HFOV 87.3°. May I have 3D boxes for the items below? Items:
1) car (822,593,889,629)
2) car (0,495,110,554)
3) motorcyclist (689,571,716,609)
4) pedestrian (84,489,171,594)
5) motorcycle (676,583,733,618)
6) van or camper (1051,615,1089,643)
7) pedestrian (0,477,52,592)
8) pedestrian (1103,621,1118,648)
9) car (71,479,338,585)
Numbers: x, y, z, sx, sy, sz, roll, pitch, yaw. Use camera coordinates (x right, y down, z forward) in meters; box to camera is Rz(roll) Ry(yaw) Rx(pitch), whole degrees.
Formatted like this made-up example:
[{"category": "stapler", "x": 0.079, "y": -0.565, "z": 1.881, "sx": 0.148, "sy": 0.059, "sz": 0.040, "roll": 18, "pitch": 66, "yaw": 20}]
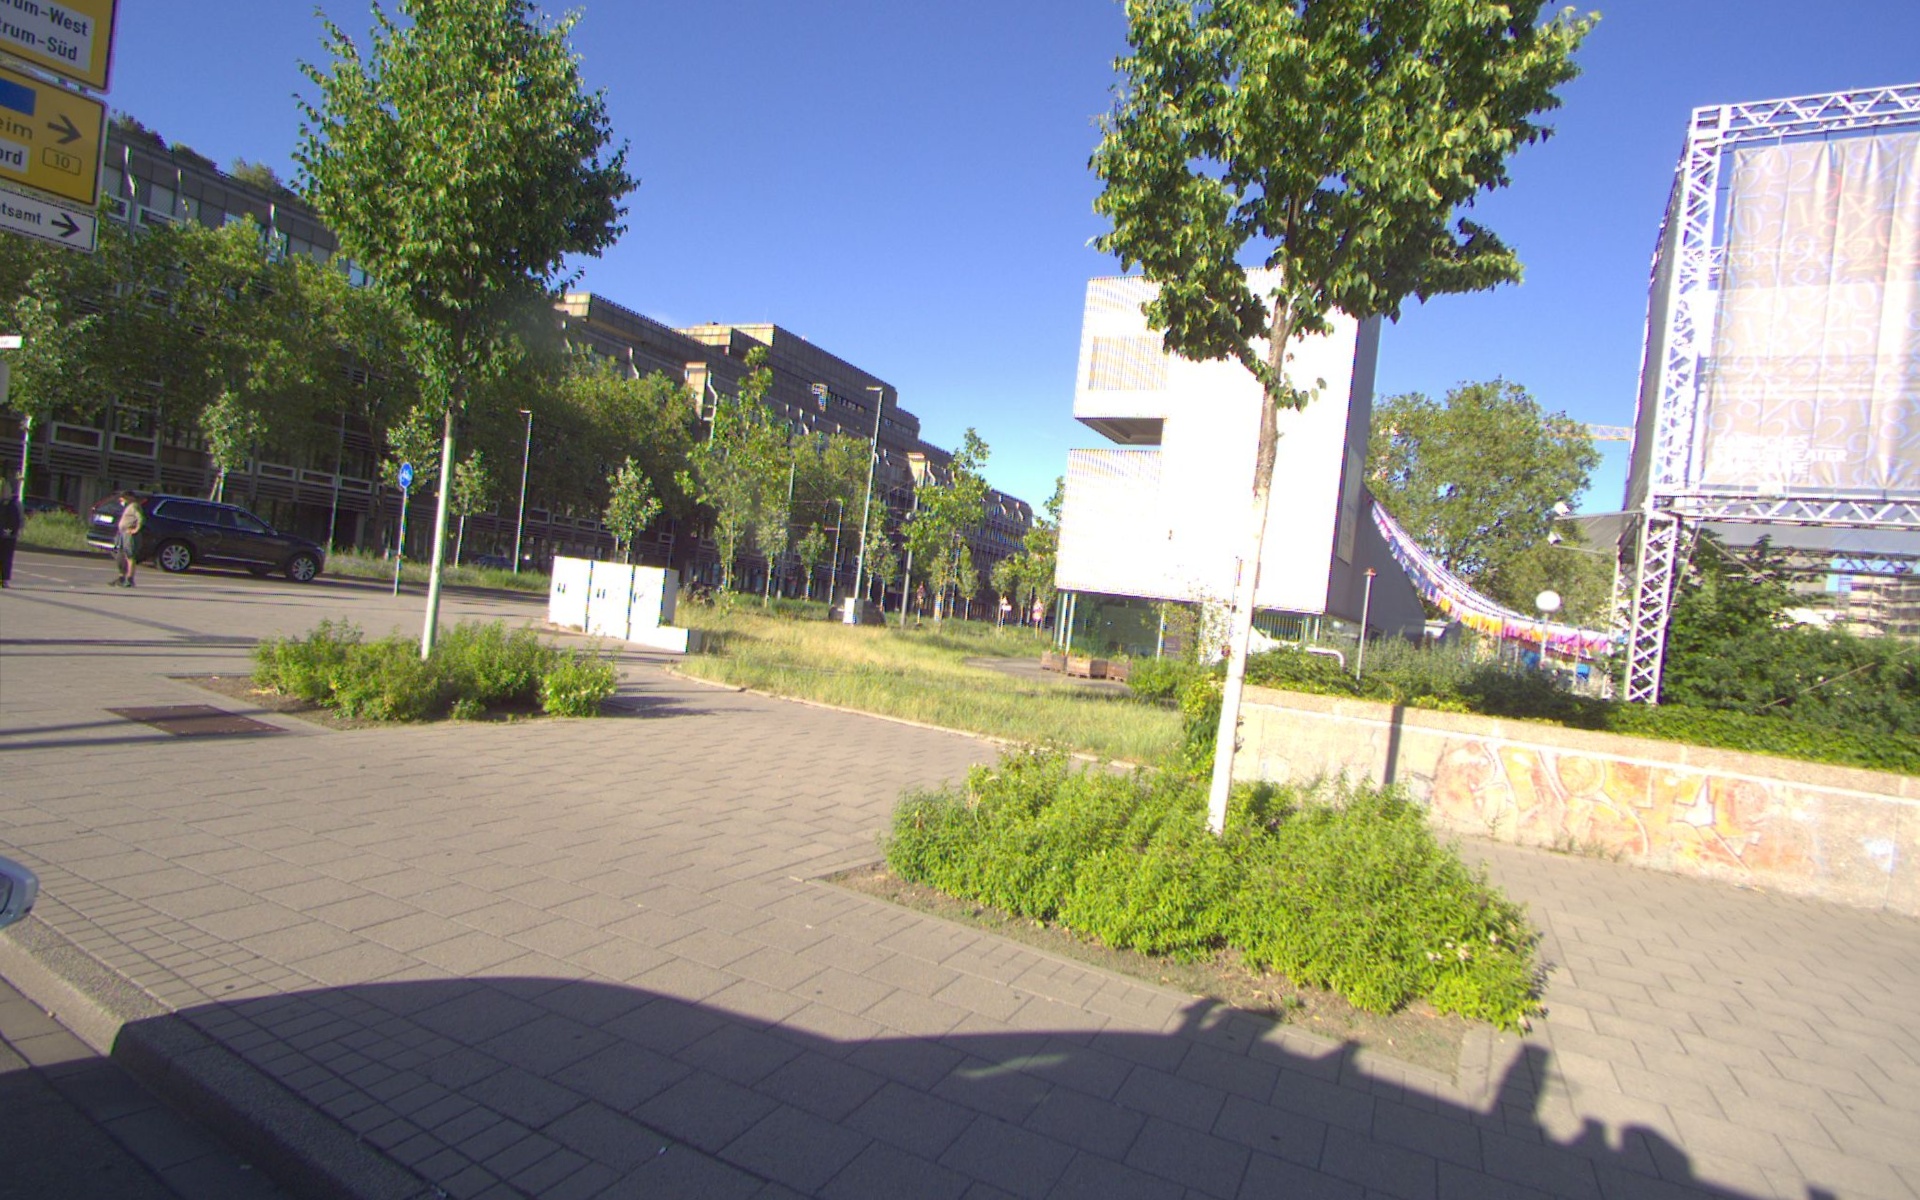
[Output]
[{"category": "car", "x": -5.466, "y": 0.613, "z": 53.226, "sx": 1.642, "sy": 1.528, "sz": 3.871, "roll": 7, "pitch": -1, "yaw": 25}, {"category": "car", "x": -33.209, "y": -2.777, "z": 35.612, "sx": 1.792, "sy": 1.704, "sz": 4.302, "roll": 7, "pitch": -1, "yaw": 21}, {"category": "motorcyclist", "x": -10.568, "y": -0.414, "z": 41.372, "sx": 0.636, "sy": 1.441, "sz": 0.658, "roll": 8, "pitch": 1, "yaw": 24}, {"category": "pedestrian", "x": -14.909, "y": -1.039, "z": 18.026, "sx": 0.755, "sy": 1.728, "sz": 0.873, "roll": 7, "pitch": 1, "yaw": 30}, {"category": "motorcycle", "x": -10.524, "y": 0.035, "z": 41.581, "sx": 0.716, "sy": 1.223, "sz": 2.602, "roll": 8, "pitch": 0, "yaw": 24}, {"category": "van or camper", "x": 9.357, "y": 2.503, "z": 85.304, "sx": 1.969, "sy": 2.038, "sz": 4.844, "roll": 7, "pitch": -1, "yaw": 19}, {"category": "pedestrian", "x": -14.226, "y": -0.998, "z": 14.938, "sx": 0.859, "sy": 1.634, "sz": 0.767, "roll": 7, "pitch": 1, "yaw": 30}, {"category": "pedestrian", "x": 9.136, "y": 2.099, "z": 61.177, "sx": 0.520, "sy": 1.571, "sz": 0.638, "roll": 7, "pitch": -1, "yaw": 31}, {"category": "car", "x": -18.281, "y": -1.568, "z": 24.660, "sx": 1.852, "sy": 1.886, "sz": 4.831, "roll": 7, "pitch": -1, "yaw": 23}]
